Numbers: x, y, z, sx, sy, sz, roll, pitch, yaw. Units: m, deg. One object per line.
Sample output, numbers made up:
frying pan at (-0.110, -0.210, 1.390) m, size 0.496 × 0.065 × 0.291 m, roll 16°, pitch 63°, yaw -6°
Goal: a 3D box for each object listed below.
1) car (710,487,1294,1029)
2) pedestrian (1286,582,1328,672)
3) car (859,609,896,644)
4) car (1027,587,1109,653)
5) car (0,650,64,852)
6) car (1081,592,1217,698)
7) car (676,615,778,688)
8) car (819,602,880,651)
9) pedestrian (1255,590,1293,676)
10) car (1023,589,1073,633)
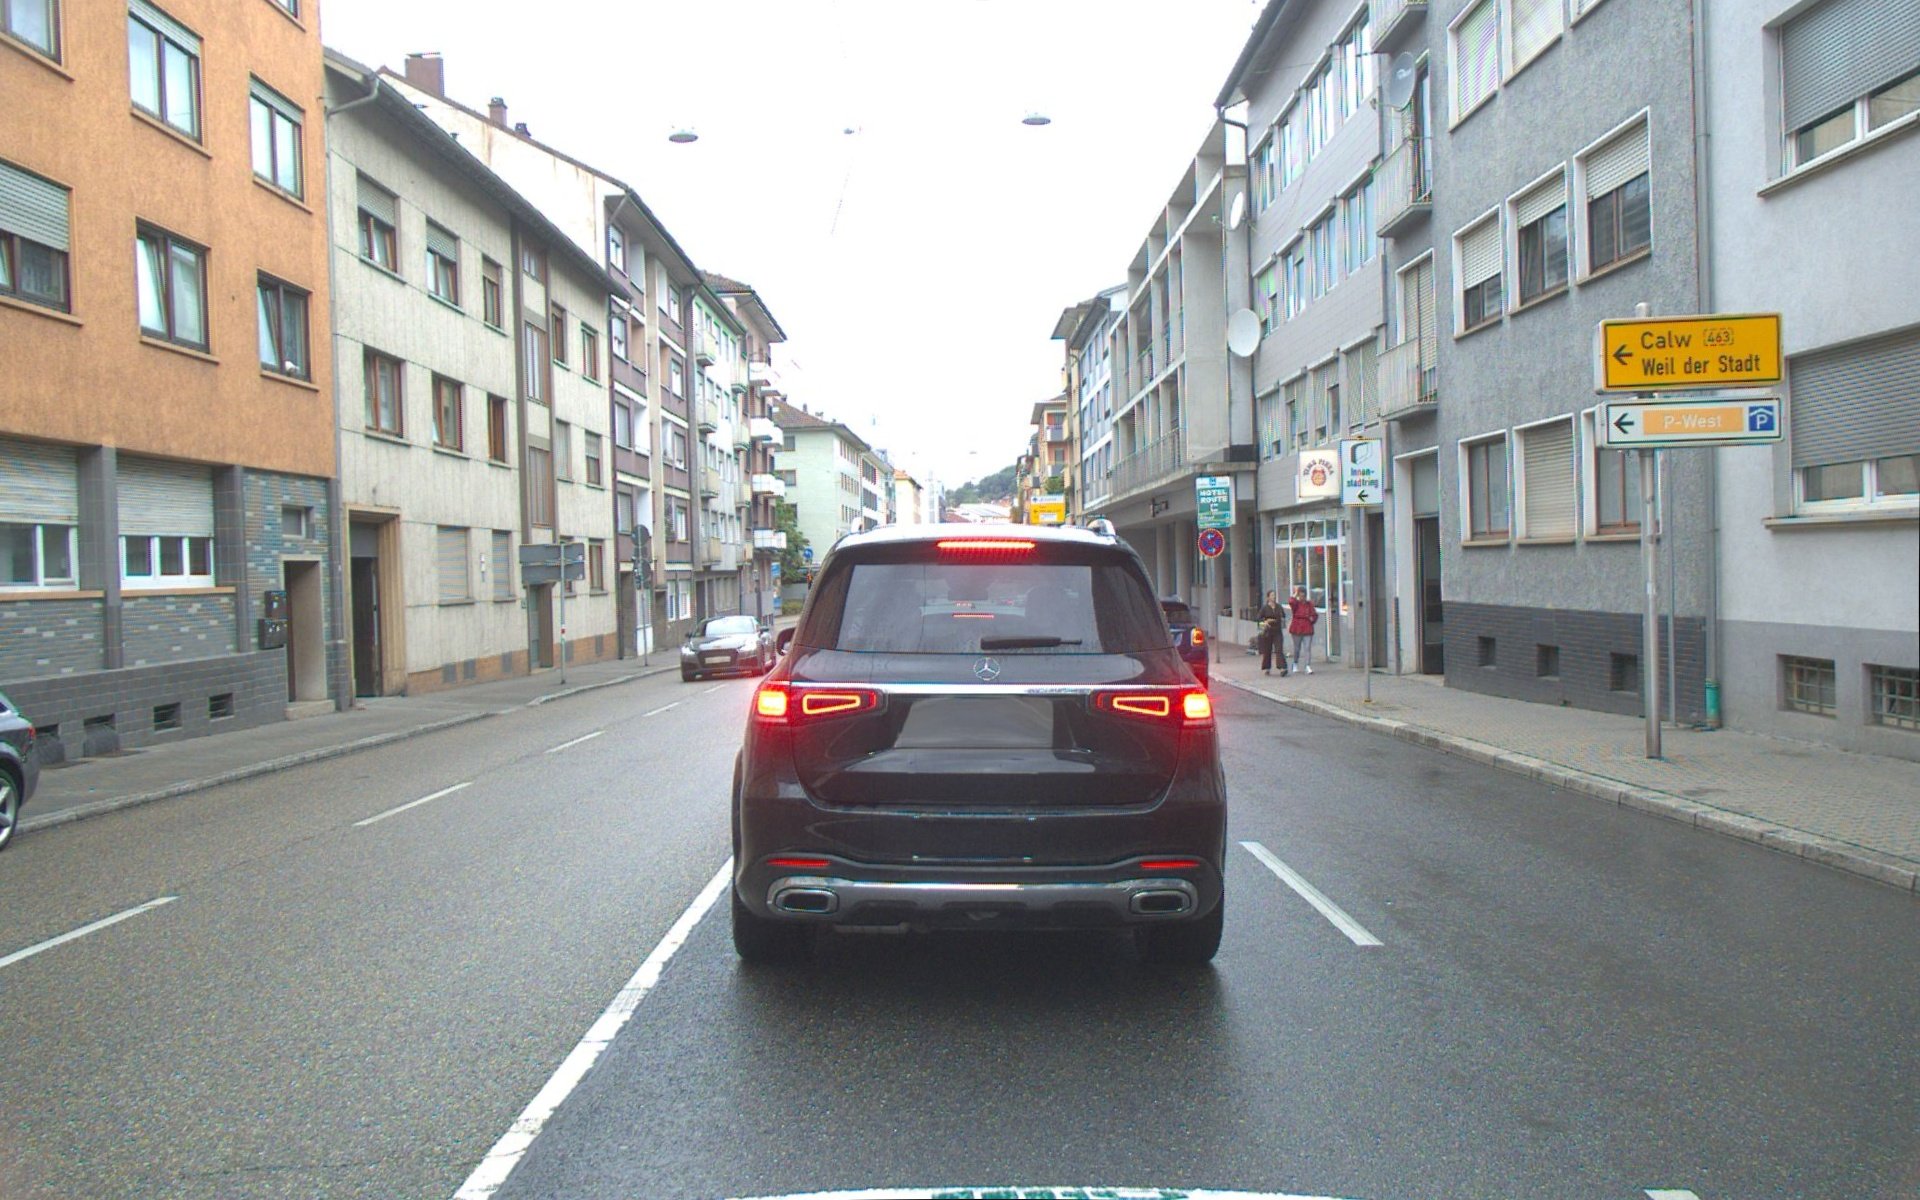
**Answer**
car at (0.106, 0.546, 7.707) m, size 1.984 × 1.837 × 3.999 m, roll 1°, pitch 0°, yaw -1°
pedestrian at (6.373, 0.493, 30.408) m, size 0.549 × 1.606 × 0.526 m, roll -4°, pitch 0°, yaw -2°
car at (-4.231, 1.331, 85.235) m, size 1.698 × 1.602 × 4.010 m, roll -5°, pitch 0°, yaw -1°
car at (3.078, 0.550, 48.008) m, size 1.901 × 1.806 × 4.744 m, roll 0°, pitch 0°, yaw -2°
car at (-7.967, 1.124, 10.869) m, size 1.759 × 1.463 × 4.525 m, roll 1°, pitch 0°, yaw -1°
car at (3.034, 0.689, 27.285) m, size 1.731 × 1.608 × 3.999 m, roll 0°, pitch 0°, yaw -1°
car at (-5.229, 1.120, 37.531) m, size 1.732 × 1.369 × 3.887 m, roll -5°, pitch 0°, yaw -1°
car at (-3.523, 0.816, 53.491) m, size 1.690 × 1.414 × 4.338 m, roll -3°, pitch 0°, yaw -1°
pedestrian at (5.783, 0.602, 30.463) m, size 0.496 × 1.526 × 0.562 m, roll -4°, pitch 0°, yaw -2°
car at (3.378, 0.420, 63.874) m, size 1.771 × 1.634 × 4.212 m, roll 0°, pitch 0°, yaw 1°
